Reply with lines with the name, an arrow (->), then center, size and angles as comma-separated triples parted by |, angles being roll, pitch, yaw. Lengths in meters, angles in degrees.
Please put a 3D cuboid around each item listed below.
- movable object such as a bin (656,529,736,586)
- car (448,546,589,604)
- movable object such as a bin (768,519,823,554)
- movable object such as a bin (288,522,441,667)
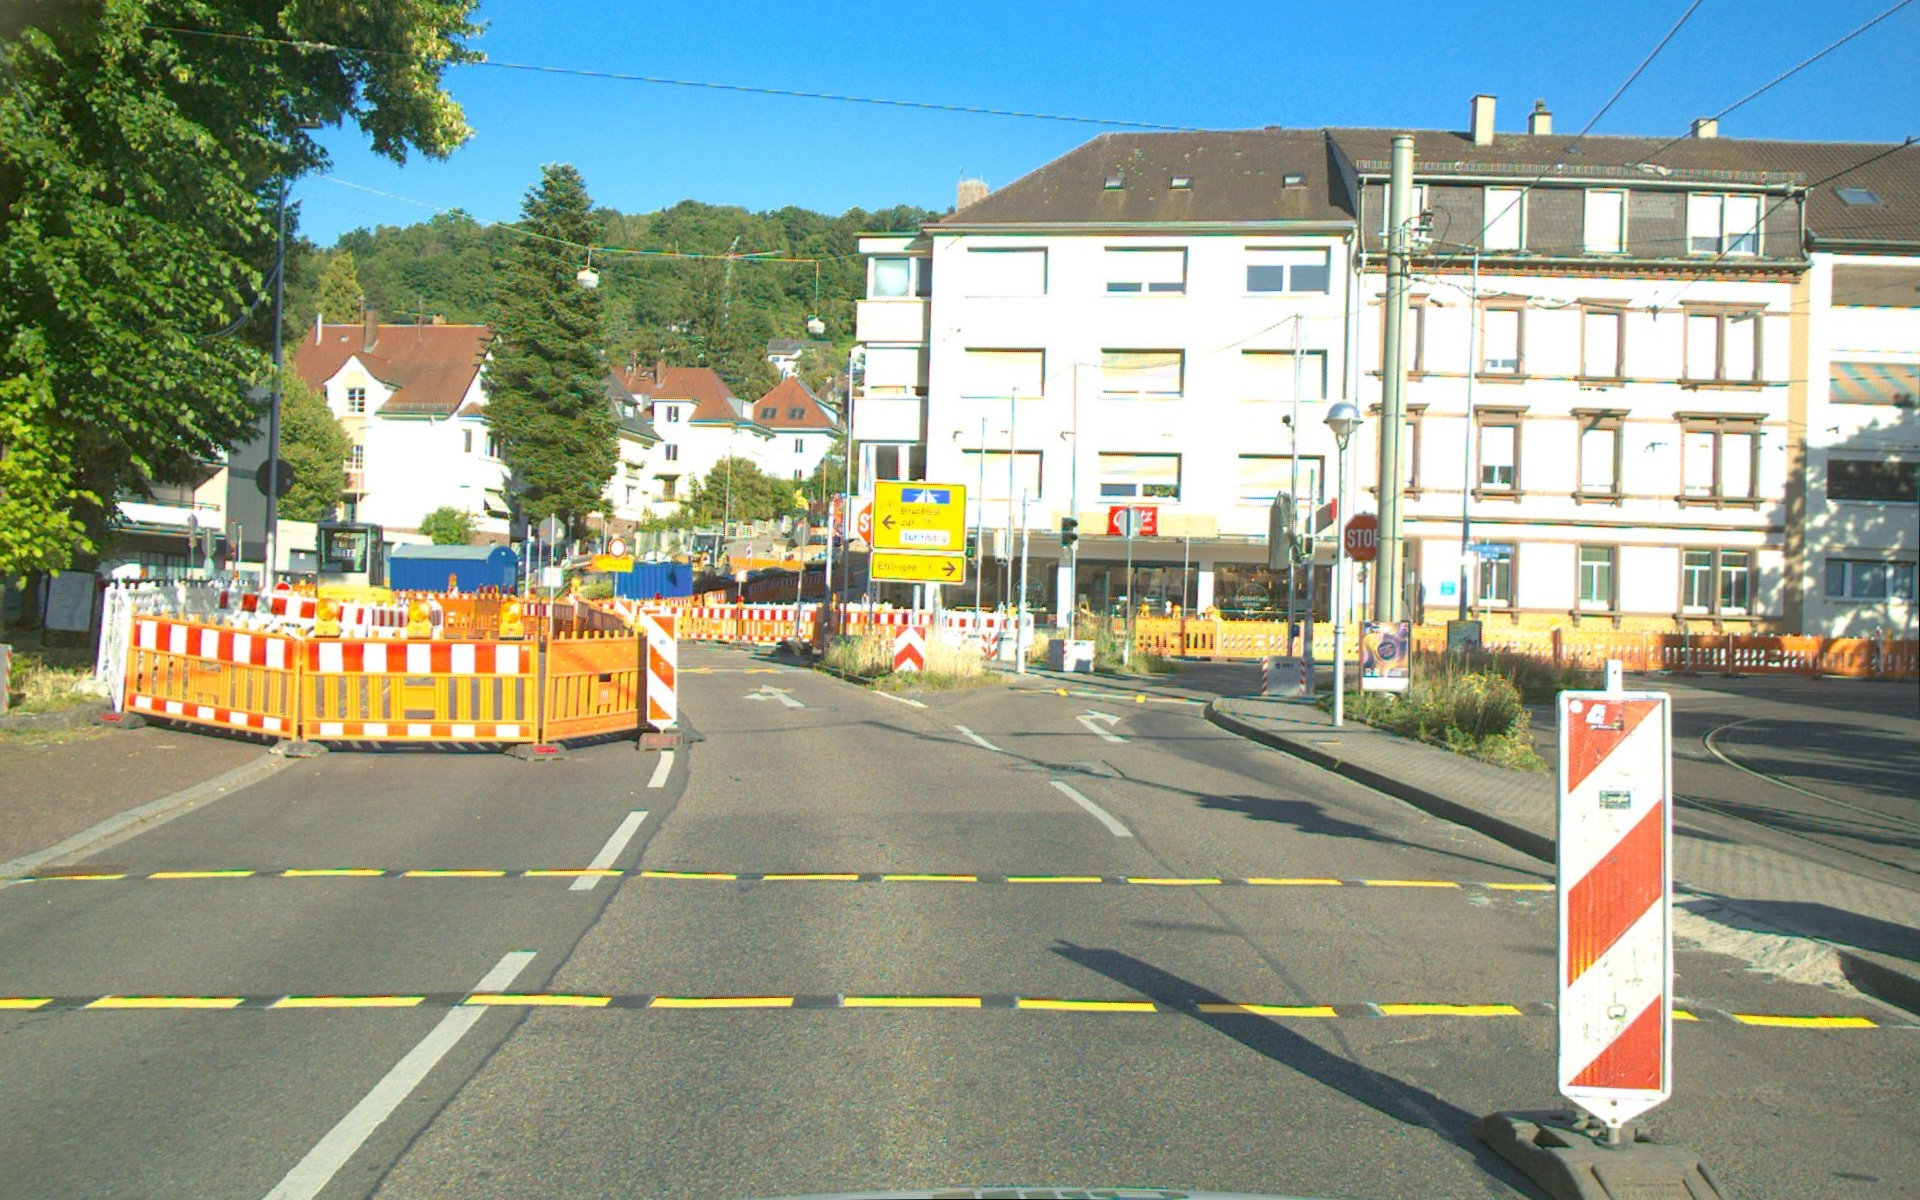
movable object such as a bin -> -12.530, -2.011, 78.799 | 1.907, 2.538, 4.554 | 1, 0, 17
car -> -17.473, -0.948, 65.884 | 2.529, 2.158, 6.154 | 1, 0, 17
movable object such as a bin -> -11.370, -4.400, 114.749 | 2.510, 2.159, 5.789 | 1, 0, 8
movable object such as a bin -> -10.475, -0.099, 29.347 | 1.615, 2.365, 3.916 | 1, 0, -6
